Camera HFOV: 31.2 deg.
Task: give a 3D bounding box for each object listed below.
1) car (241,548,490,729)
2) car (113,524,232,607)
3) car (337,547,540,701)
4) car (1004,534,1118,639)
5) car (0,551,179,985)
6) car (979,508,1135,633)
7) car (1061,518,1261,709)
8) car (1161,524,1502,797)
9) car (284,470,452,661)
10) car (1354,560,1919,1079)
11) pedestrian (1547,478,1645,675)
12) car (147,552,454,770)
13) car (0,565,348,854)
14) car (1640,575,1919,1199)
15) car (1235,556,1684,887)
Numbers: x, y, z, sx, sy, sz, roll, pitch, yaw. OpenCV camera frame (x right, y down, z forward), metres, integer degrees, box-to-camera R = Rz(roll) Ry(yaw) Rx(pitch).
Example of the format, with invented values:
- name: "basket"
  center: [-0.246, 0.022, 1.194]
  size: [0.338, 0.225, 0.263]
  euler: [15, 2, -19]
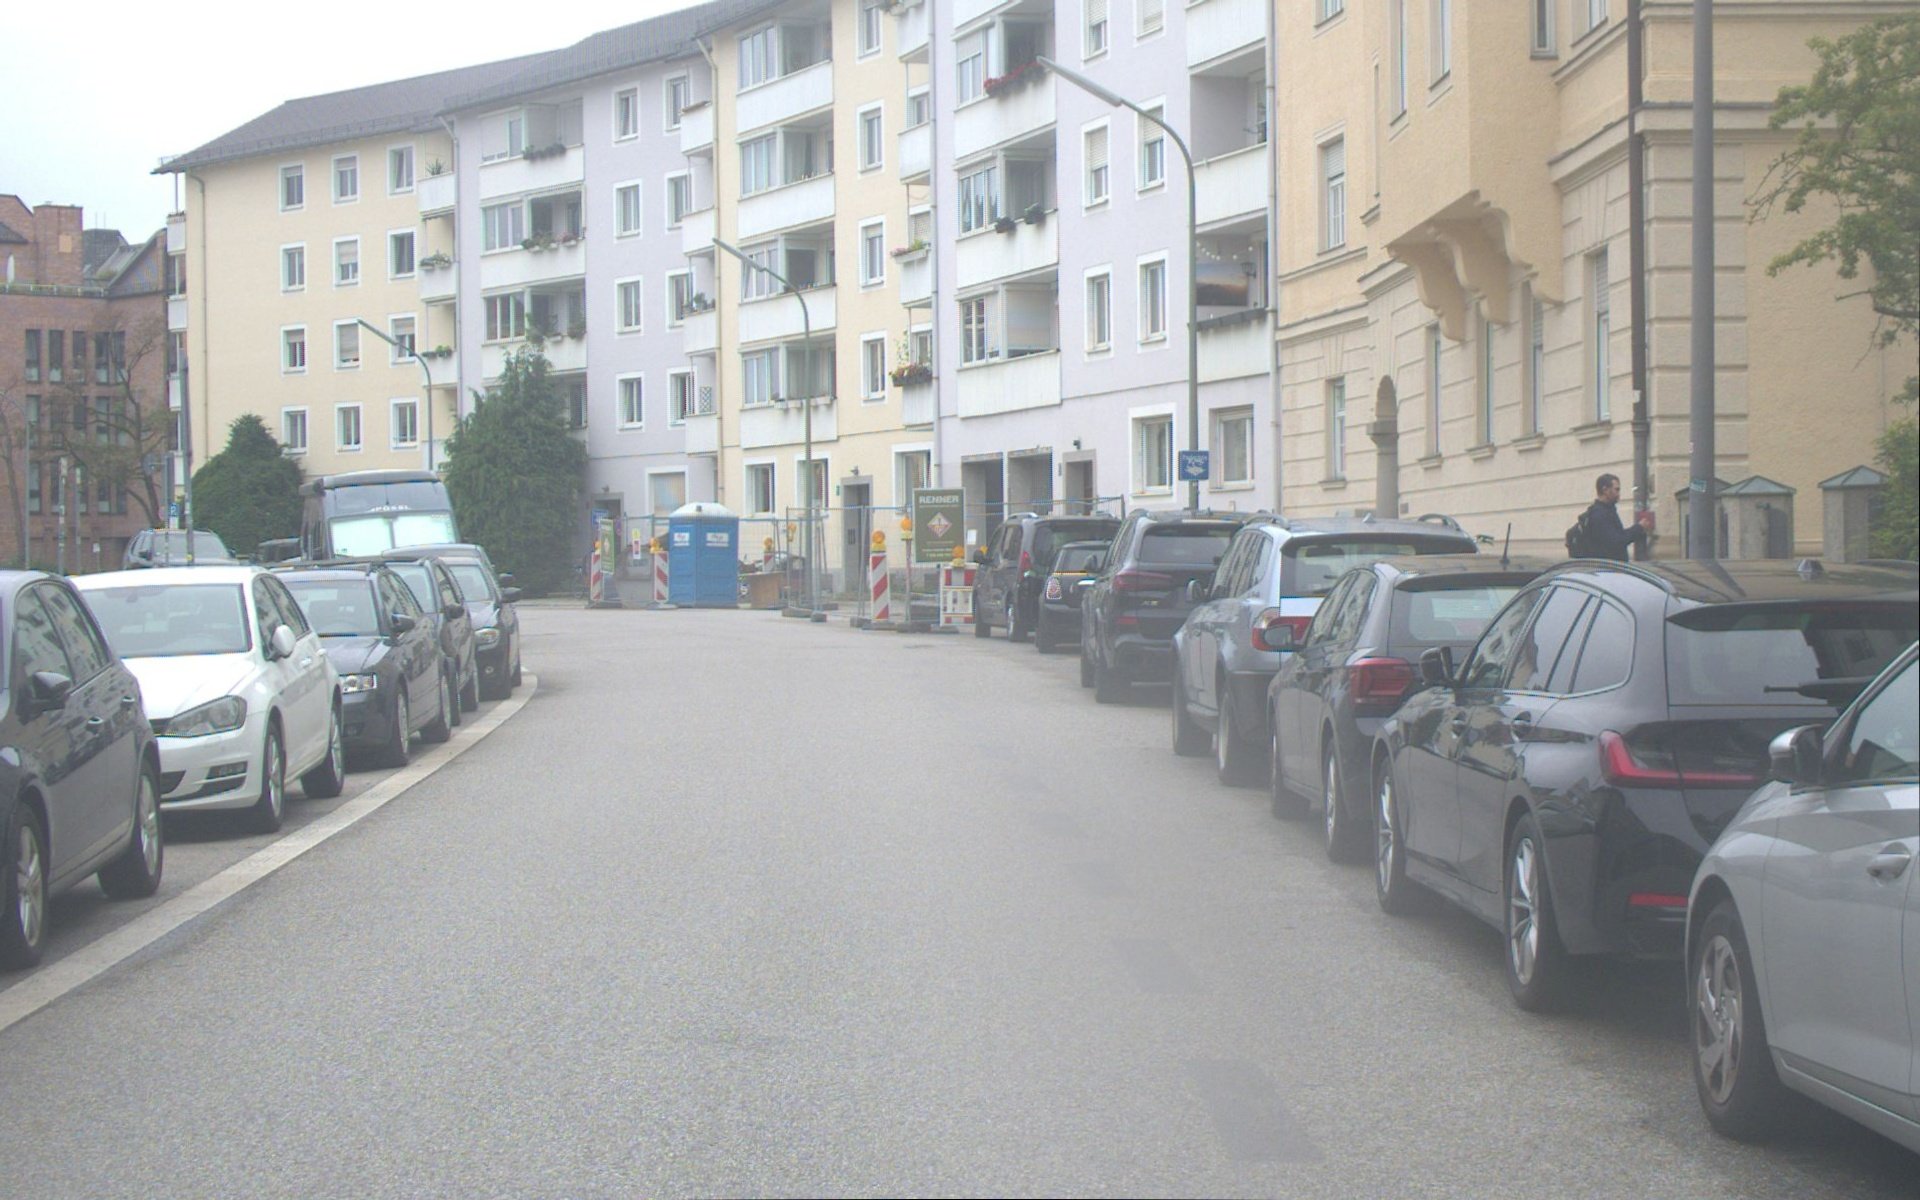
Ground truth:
- name: "car"
  center: [-5.075, 0.283, 29.775]
  size: [1.623, 1.414, 3.982]
  euler: [-1, 1, -3]
- name: "car"
  center: [-16.482, -0.729, 71.849]
  size: [1.599, 1.643, 3.141]
  euler: [2, 0, -28]
- name: "car"
  center: [-5.173, 0.201, 34.479]
  size: [1.623, 1.414, 3.648]
  euler: [-1, 1, -3]
- name: "car"
  center: [1.267, -0.192, 43.885]
  size: [1.272, 1.294, 2.798]
  euler: [0, 1, -2]
- name: "car"
  center: [-4.289, 0.577, 13.769]
  size: [1.623, 1.503, 3.982]
  euler: [-1, 1, -4]
- name: "car"
  center: [1.351, -0.443, 49.026]
  size: [1.601, 1.709, 3.090]
  euler: [1, 1, -10]
- name: "car"
  center: [1.813, 0.073, 31.975]
  size: [1.474, 1.635, 4.001]
  euler: [1, 1, -2]
- name: "car"
  center: [2.314, 0.314, 22.398]
  size: [1.590, 1.577, 4.299]
  euler: [1, 1, -2]
- name: "car"
  center: [-8.608, -0.526, 49.765]
  size: [1.770, 2.645, 4.001]
  euler: [0, 1, -19]
- name: "car"
  center: [2.509, 0.614, 12.107]
  size: [1.590, 1.427, 4.421]
  euler: [1, 1, -2]
- name: "pedestrian"
  center: [5.552, -0.205, 30.046]
  size: [0.667, 1.687, 0.690]
  euler: [2, 0, -1]
- name: "car"
  center: [-4.725, 0.382, 25.103]
  size: [1.623, 1.414, 3.982]
  euler: [-1, 1, -3]
- name: "car"
  center: [-4.533, 0.540, 19.522]
  size: [1.623, 1.414, 3.982]
  euler: [-1, 1, -4]
- name: "car"
  center: [2.760, 0.677, 7.378]
  size: [1.692, 1.427, 3.945]
  euler: [1, 0, -2]
- name: "car"
  center: [2.406, 0.524, 17.418]
  size: [1.590, 1.427, 3.826]
  euler: [1, 1, -2]
